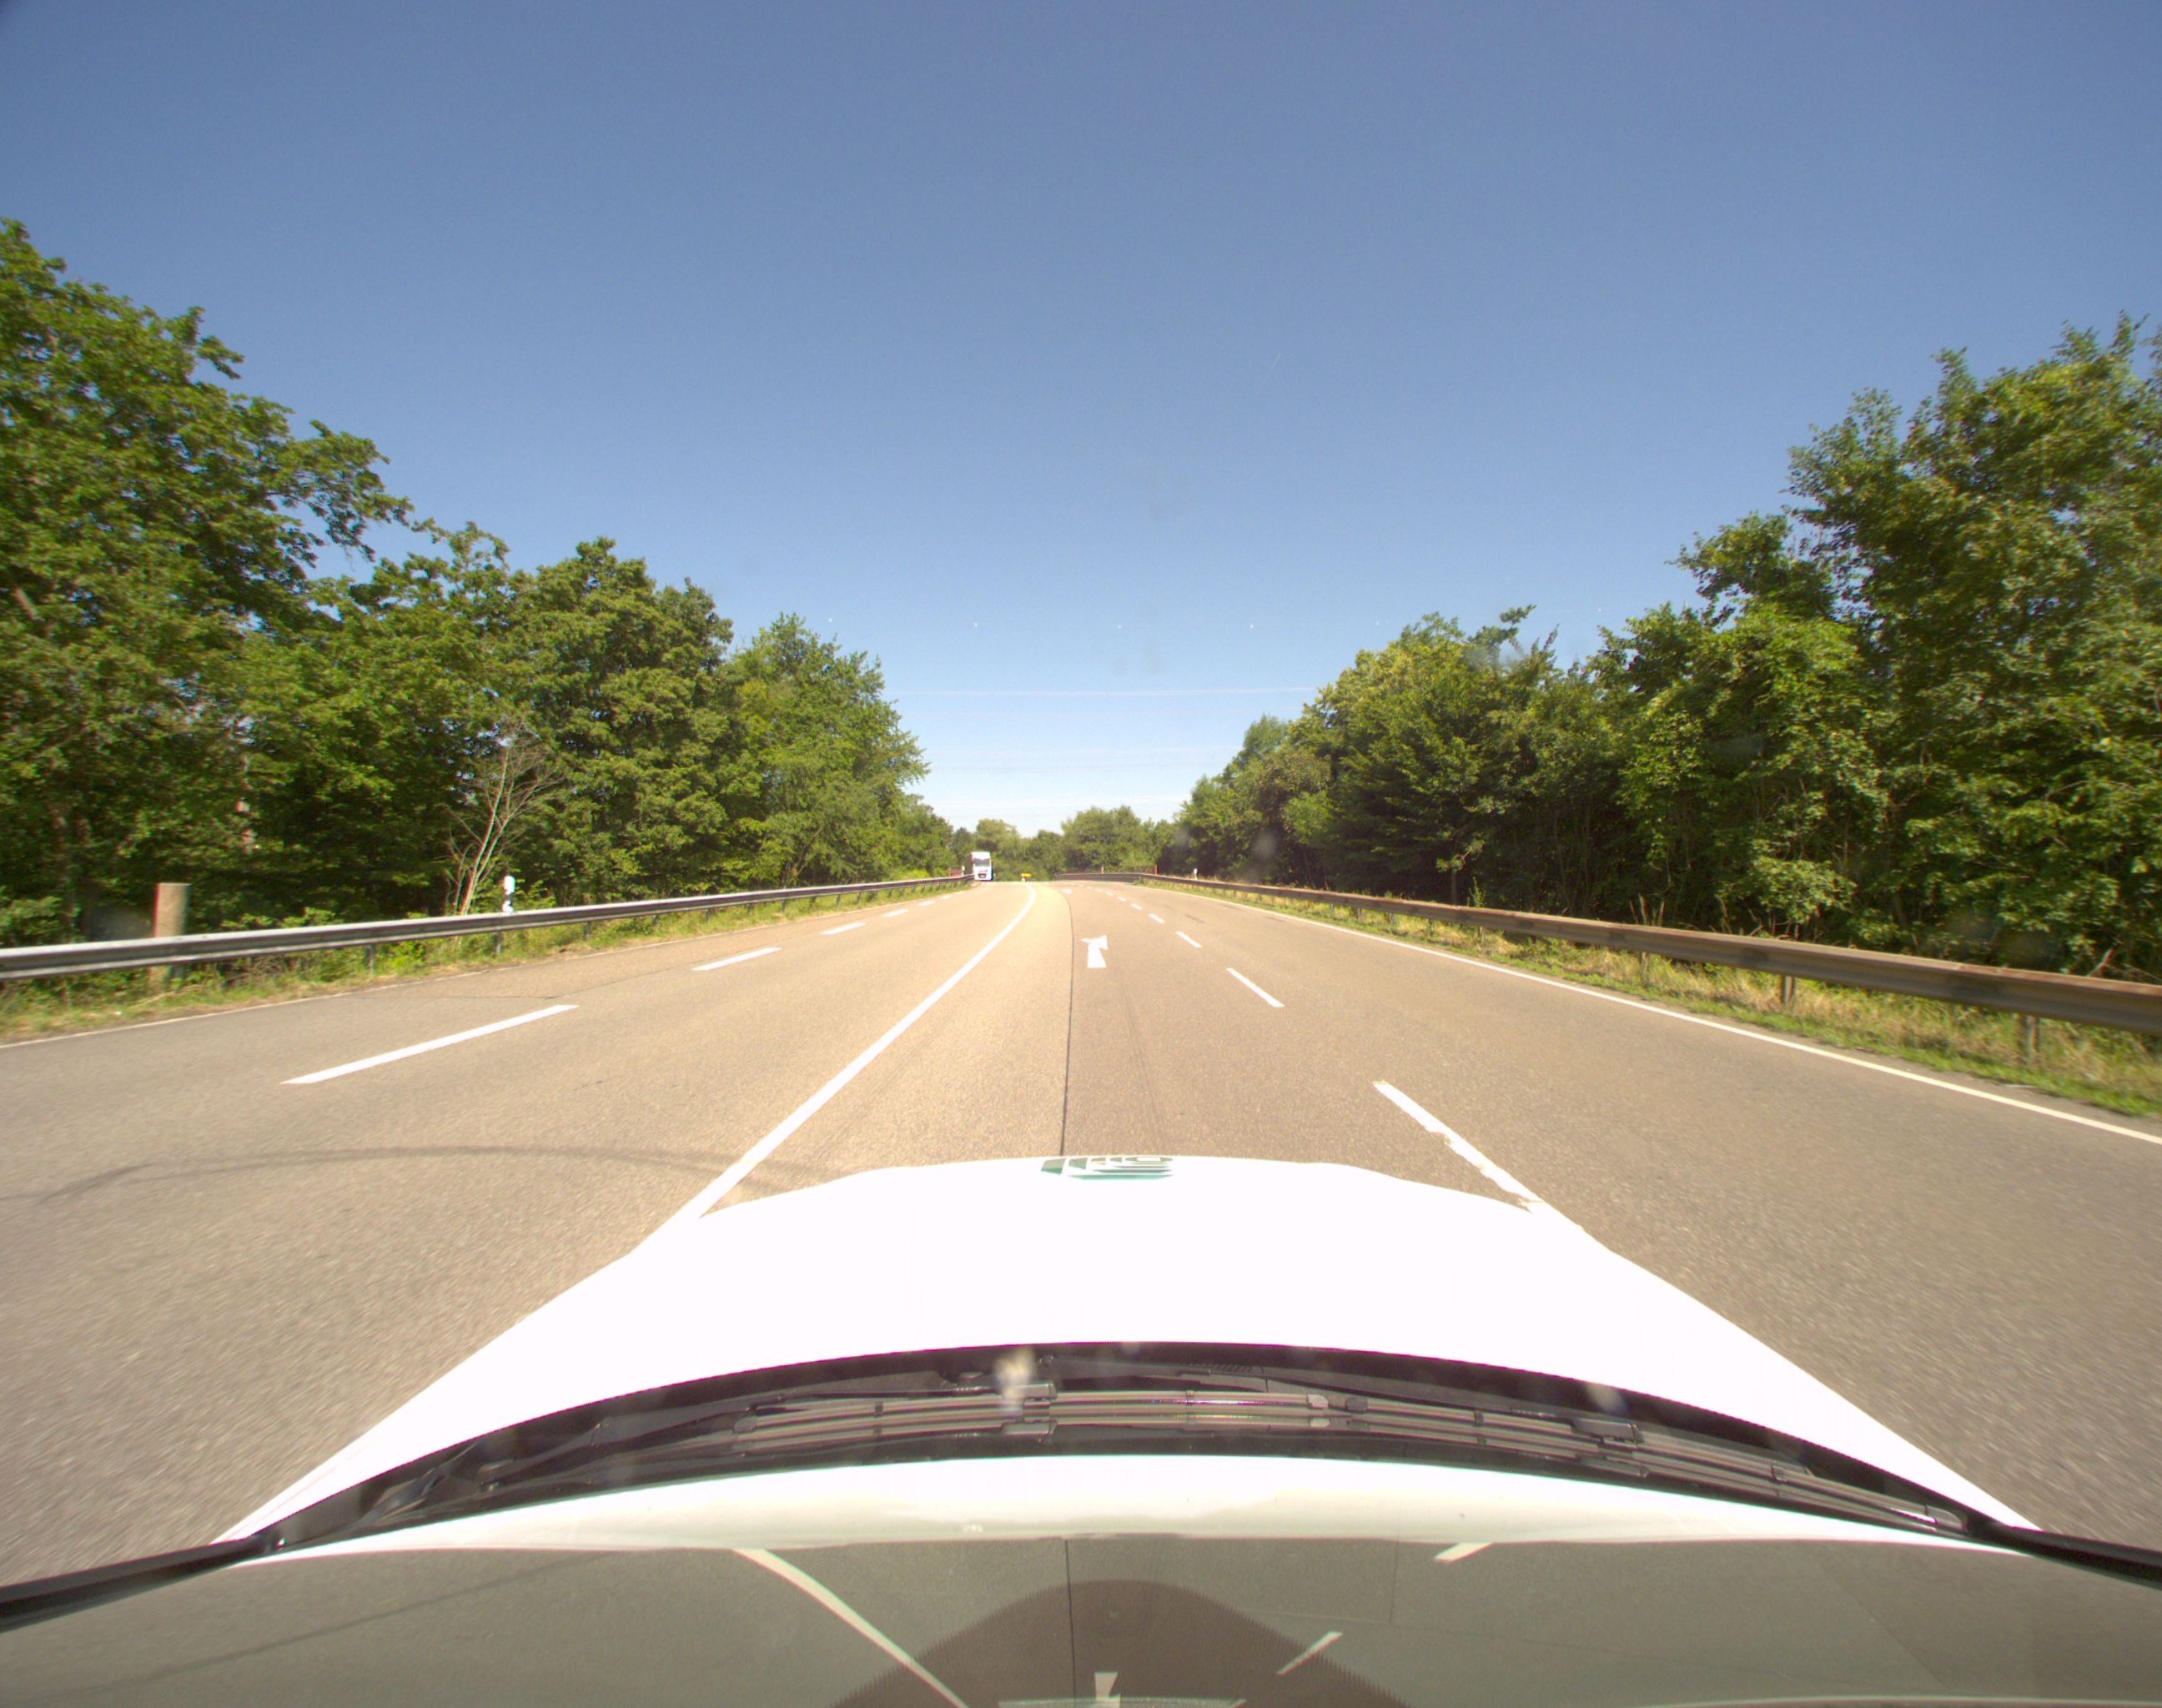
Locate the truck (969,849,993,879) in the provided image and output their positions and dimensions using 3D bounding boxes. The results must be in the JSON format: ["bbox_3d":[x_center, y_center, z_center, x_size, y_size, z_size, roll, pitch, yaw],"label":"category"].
[{"bbox_3d":[-14.187,1.441,115.096,2.771,4.035,5.830,0,-2,-12],"label":"truck"}]

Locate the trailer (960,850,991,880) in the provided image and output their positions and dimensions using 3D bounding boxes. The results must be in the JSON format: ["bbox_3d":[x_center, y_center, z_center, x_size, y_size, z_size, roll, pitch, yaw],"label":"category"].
[{"bbox_3d":[-15.836,1.758,121.664,2.773,4.063,14.125,0,-2,-15],"label":"trailer"}]
